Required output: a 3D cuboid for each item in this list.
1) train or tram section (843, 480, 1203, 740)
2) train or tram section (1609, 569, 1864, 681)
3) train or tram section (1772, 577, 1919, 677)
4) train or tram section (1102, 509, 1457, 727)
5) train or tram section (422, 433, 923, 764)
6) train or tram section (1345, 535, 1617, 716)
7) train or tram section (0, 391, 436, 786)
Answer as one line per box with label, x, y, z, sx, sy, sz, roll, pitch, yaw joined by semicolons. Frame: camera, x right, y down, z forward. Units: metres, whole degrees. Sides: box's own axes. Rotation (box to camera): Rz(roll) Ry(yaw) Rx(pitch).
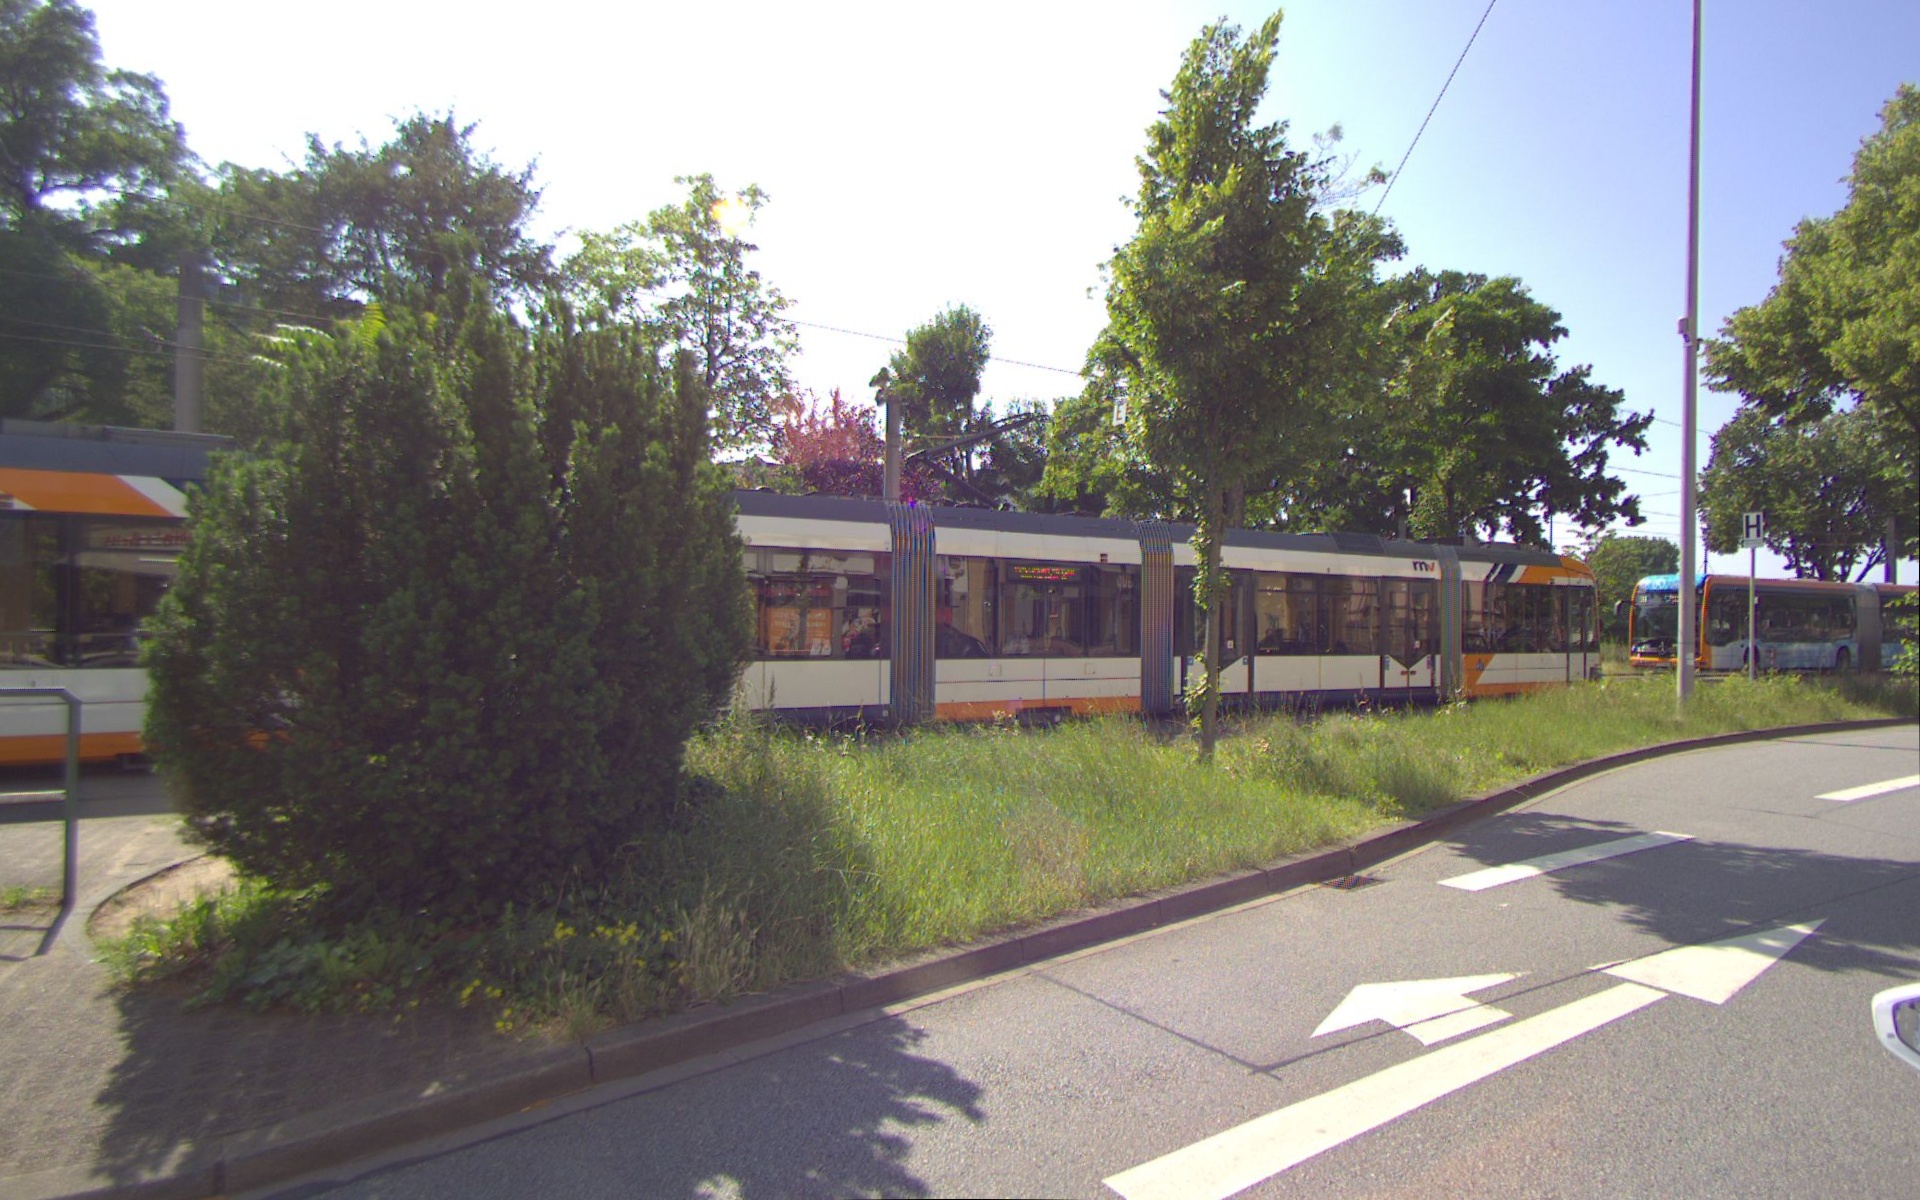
train or tram section;1.066;0.162;16.454;5.293;3.629;2.601;1;1;-30
train or tram section;27.785;0.885;35.831;9.893;3.629;2.815;1;1;-24
train or tram section;36.045;1.040;39.472;8.106;3.629;2.816;1;1;-22
train or tram section;6.293;0.330;19.484;6.816;3.629;2.601;1;1;-30
train or tram section;-3.814;0.052;13.622;6.031;3.629;2.601;2;0;-30
train or tram section;11.813;0.530;22.698;5.945;3.629;2.601;1;1;-30
train or tram section;-9.020;-0.106;10.606;6.031;3.629;2.601;2;0;-30
